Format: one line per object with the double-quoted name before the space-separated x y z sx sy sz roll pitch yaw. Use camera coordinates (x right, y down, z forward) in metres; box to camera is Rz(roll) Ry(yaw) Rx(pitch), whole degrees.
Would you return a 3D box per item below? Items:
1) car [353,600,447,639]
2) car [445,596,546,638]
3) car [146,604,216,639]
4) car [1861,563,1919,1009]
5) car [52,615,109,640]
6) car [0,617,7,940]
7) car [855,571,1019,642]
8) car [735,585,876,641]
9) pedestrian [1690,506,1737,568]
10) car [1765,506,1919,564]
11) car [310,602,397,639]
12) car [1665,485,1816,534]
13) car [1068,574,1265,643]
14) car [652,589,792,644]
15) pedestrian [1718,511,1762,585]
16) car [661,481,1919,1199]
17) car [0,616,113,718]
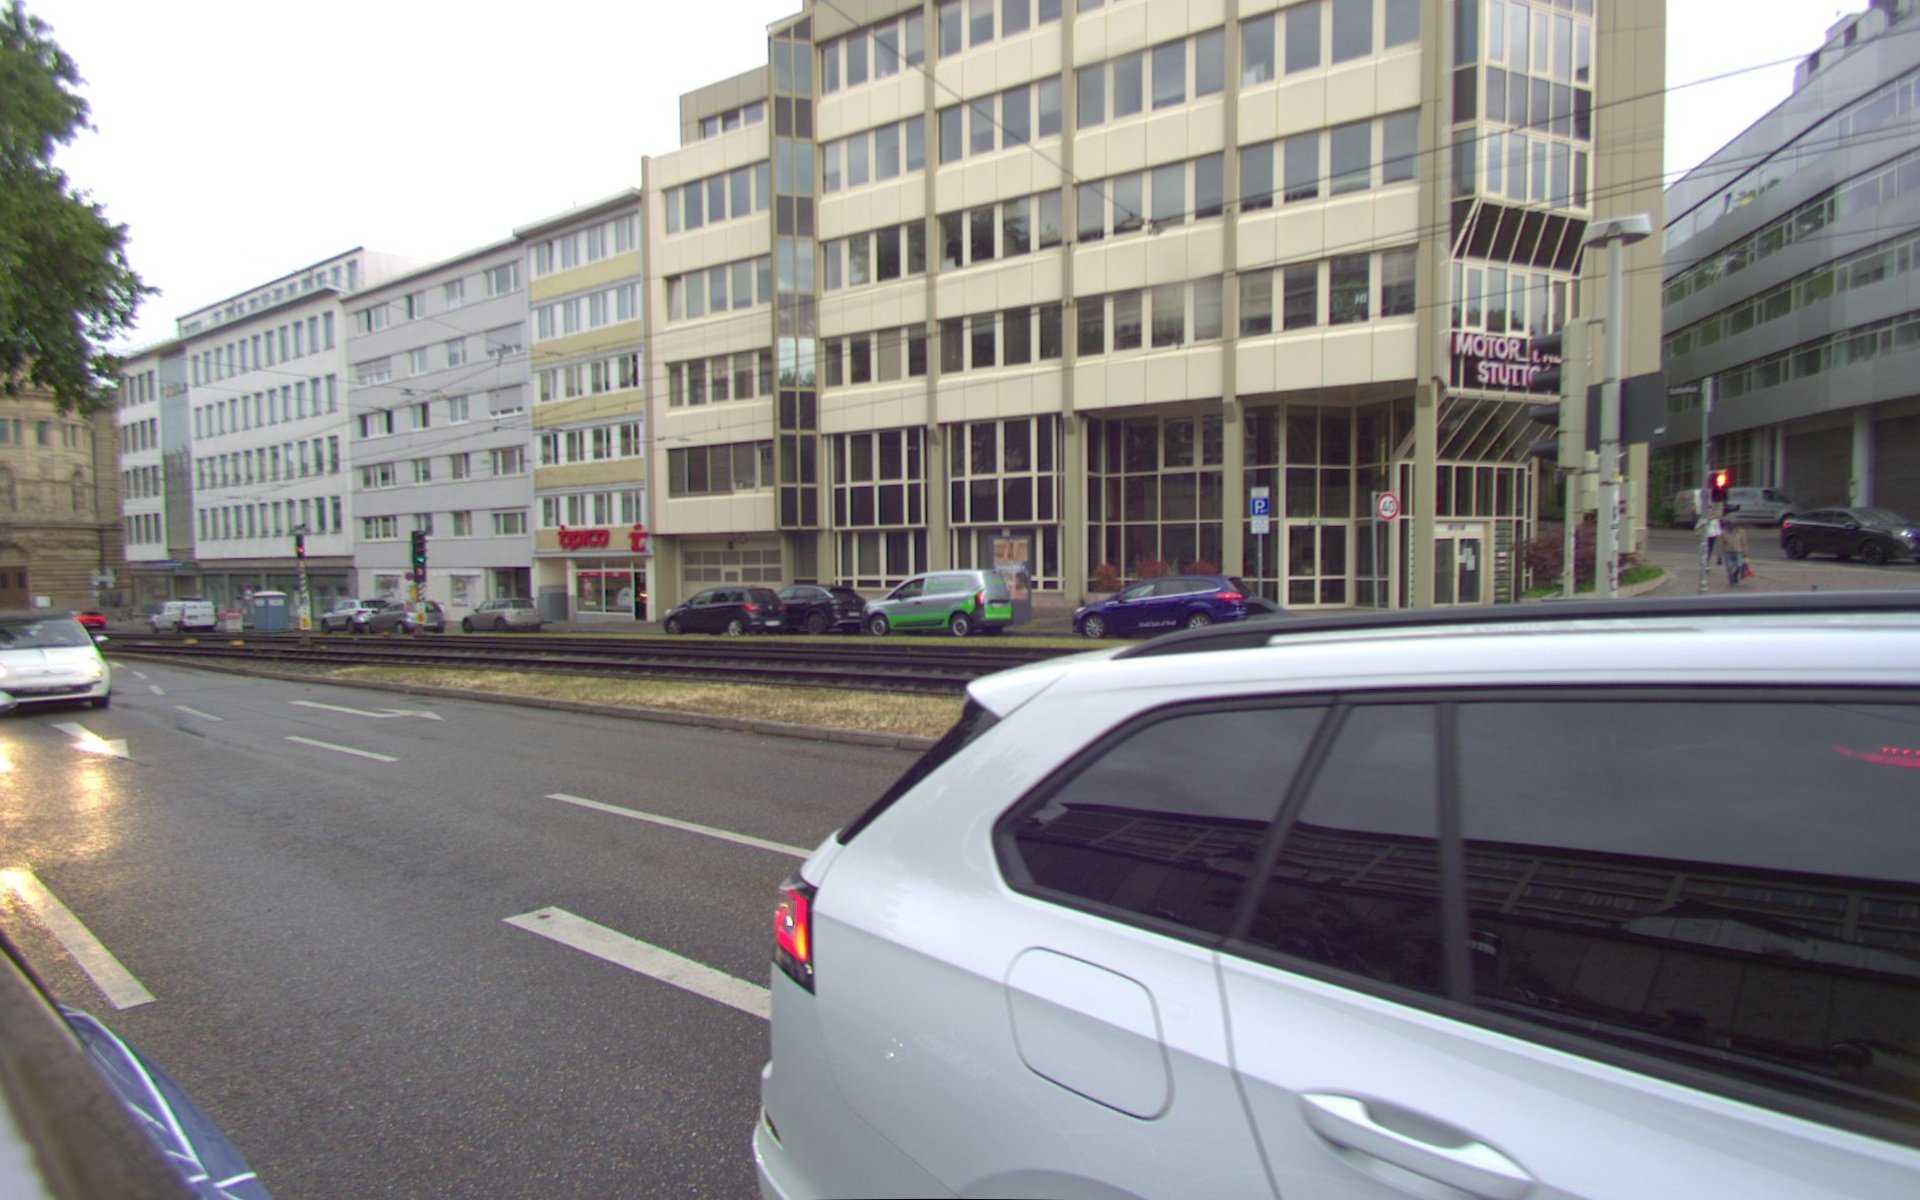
"car" -21.786 0.758 39.335 3.861 1.367 1.614 -1 2 34
"car" -18.712 0.656 40.704 4.066 1.524 1.782 -1 3 34
"car" -46.550 1.270 60.446 4.465 1.949 1.869 -1 3 34
"car" 5.306 0.577 2.558 4.473 1.453 1.777 -1 0 41
"car" -62.204 1.909 71.555 4.465 1.636 1.869 -1 3 34
"car" -6.494 0.831 5.284 4.295 1.445 1.788 -1 0 41
"car" -0.672 0.167 27.863 4.204 1.759 1.782 -1 3 33
"car" -4.714 0.374 30.752 4.066 1.524 1.782 -1 3 34
"pedestrian" 20.467 -1.705 27.501 0.711 1.651 0.759 -2 3 6
"car" 27.534 -2.049 31.013 1.974 1.591 4.884 -2 5 3
"car" -28.310 0.936 47.205 4.066 1.524 1.869 -1 3 34
"car" 37.628 -4.347 48.939 5.357 2.029 1.993 -1 0 12
"car" 4.821 0.192 23.849 4.207 1.488 1.780 -1 0 35
"car" -6.707 0.460 28.438 3.861 1.367 1.614 -1 2 34
"pedestrian" 19.406 -1.288 25.193 0.829 1.800 0.751 0 3 35
"car" 1.706 0.625 1.081 4.473 1.453 1.777 -1 0 41
"car" -14.790 0.987 15.987 3.438 1.445 1.633 -1 0 41
